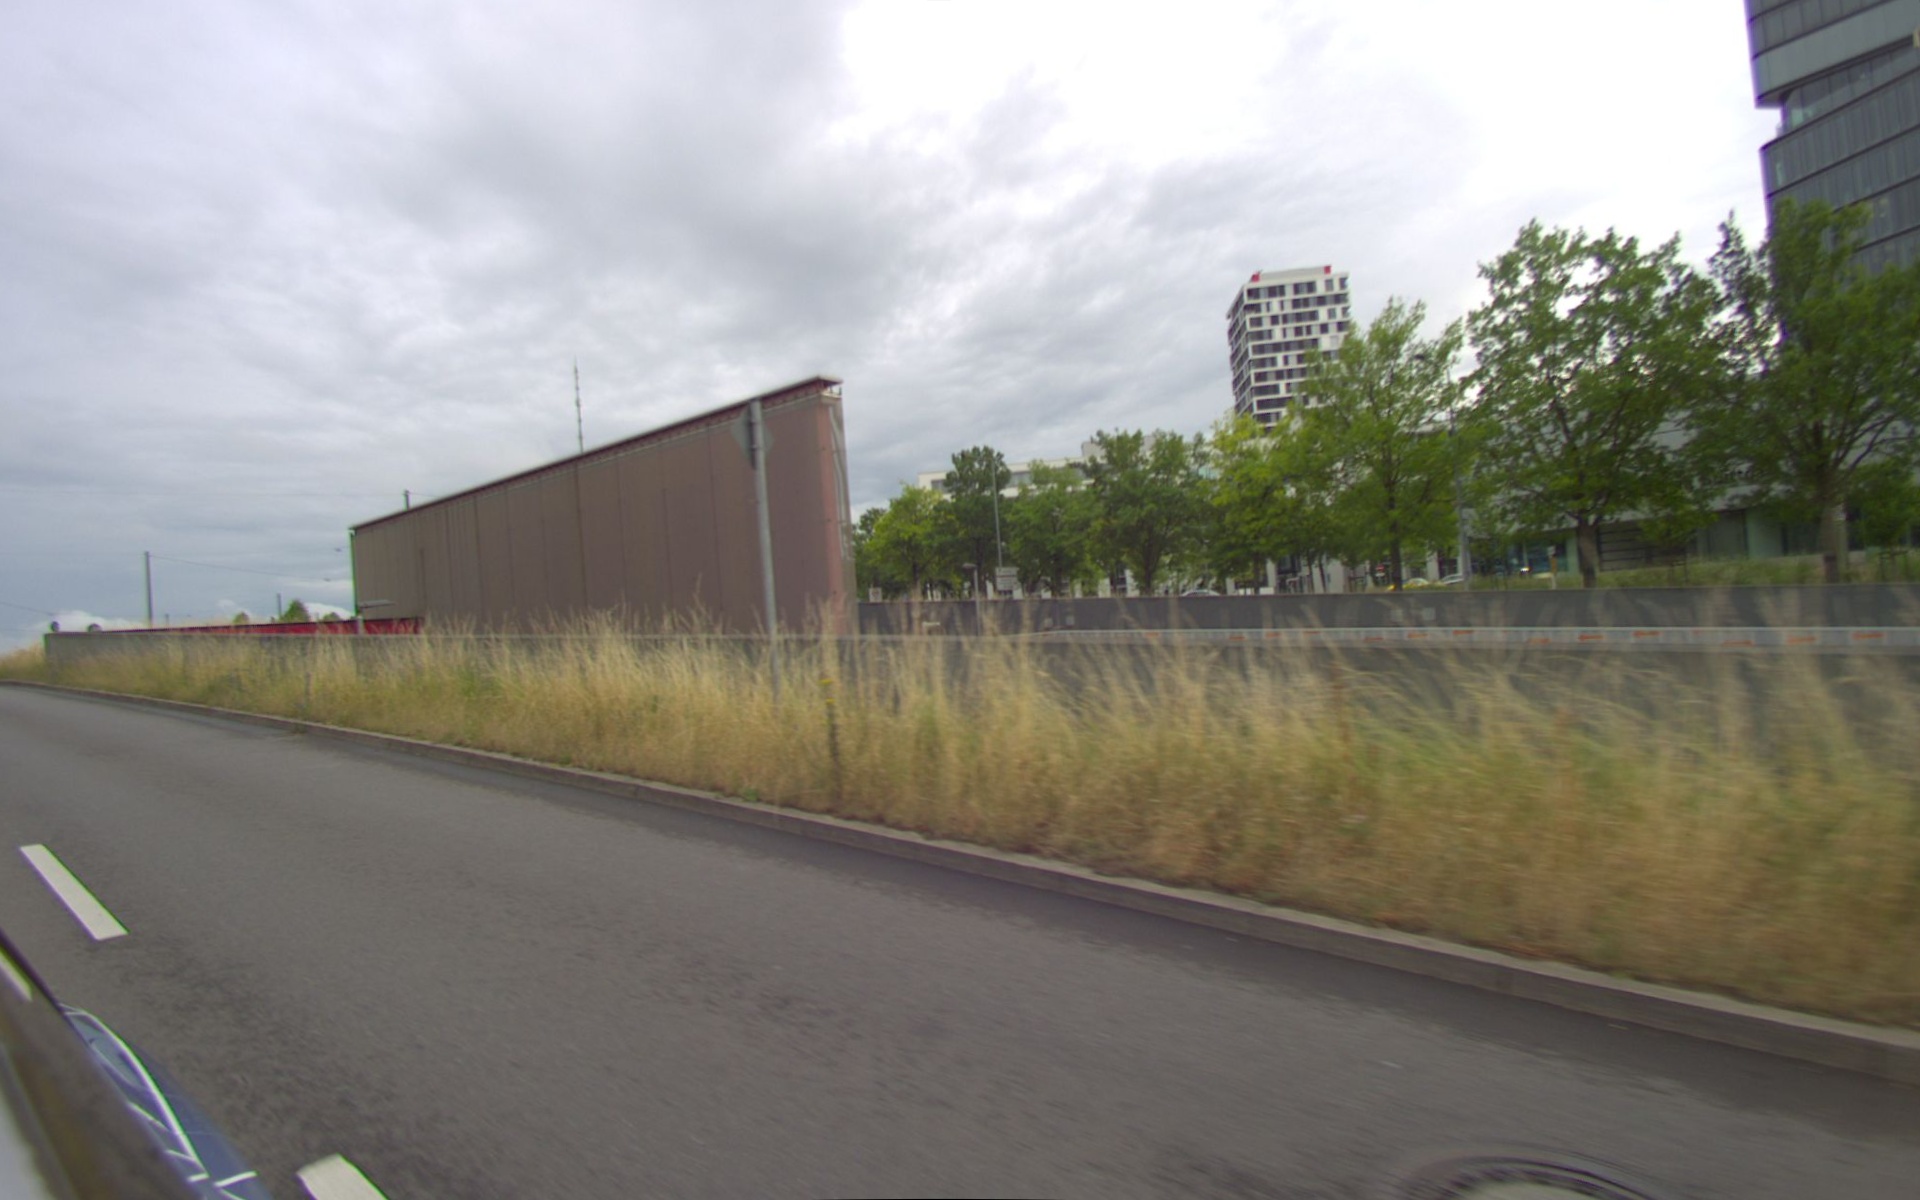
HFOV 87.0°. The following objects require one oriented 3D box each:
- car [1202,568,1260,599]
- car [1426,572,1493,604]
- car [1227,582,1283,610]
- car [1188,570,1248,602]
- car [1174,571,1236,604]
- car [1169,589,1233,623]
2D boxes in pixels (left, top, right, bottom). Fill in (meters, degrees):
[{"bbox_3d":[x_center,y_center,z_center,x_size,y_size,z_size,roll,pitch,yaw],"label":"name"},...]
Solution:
[{"bbox_3d":[22.261,-1.310,83.083,3.995,2.028,1.975,-7,-1,39],"label":"car"},{"bbox_3d":[38.279,-0.912,77.631,1.966,2.028,4.012,-6,-1,-26],"label":"car"},{"bbox_3d":[24.979,-0.299,85.718,3.940,1.862,2.003,-7,-1,-6],"label":"car"},{"bbox_3d":[20.632,-1.135,81.046,3.995,2.028,1.975,-7,-1,39],"label":"car"},{"bbox_3d":[19.026,-0.966,78.646,3.995,2.028,1.975,-7,-1,39],"label":"car"},{"bbox_3d":[17.827,0.467,75.016,3.995,2.028,1.975,-7,-1,38],"label":"car"}]
